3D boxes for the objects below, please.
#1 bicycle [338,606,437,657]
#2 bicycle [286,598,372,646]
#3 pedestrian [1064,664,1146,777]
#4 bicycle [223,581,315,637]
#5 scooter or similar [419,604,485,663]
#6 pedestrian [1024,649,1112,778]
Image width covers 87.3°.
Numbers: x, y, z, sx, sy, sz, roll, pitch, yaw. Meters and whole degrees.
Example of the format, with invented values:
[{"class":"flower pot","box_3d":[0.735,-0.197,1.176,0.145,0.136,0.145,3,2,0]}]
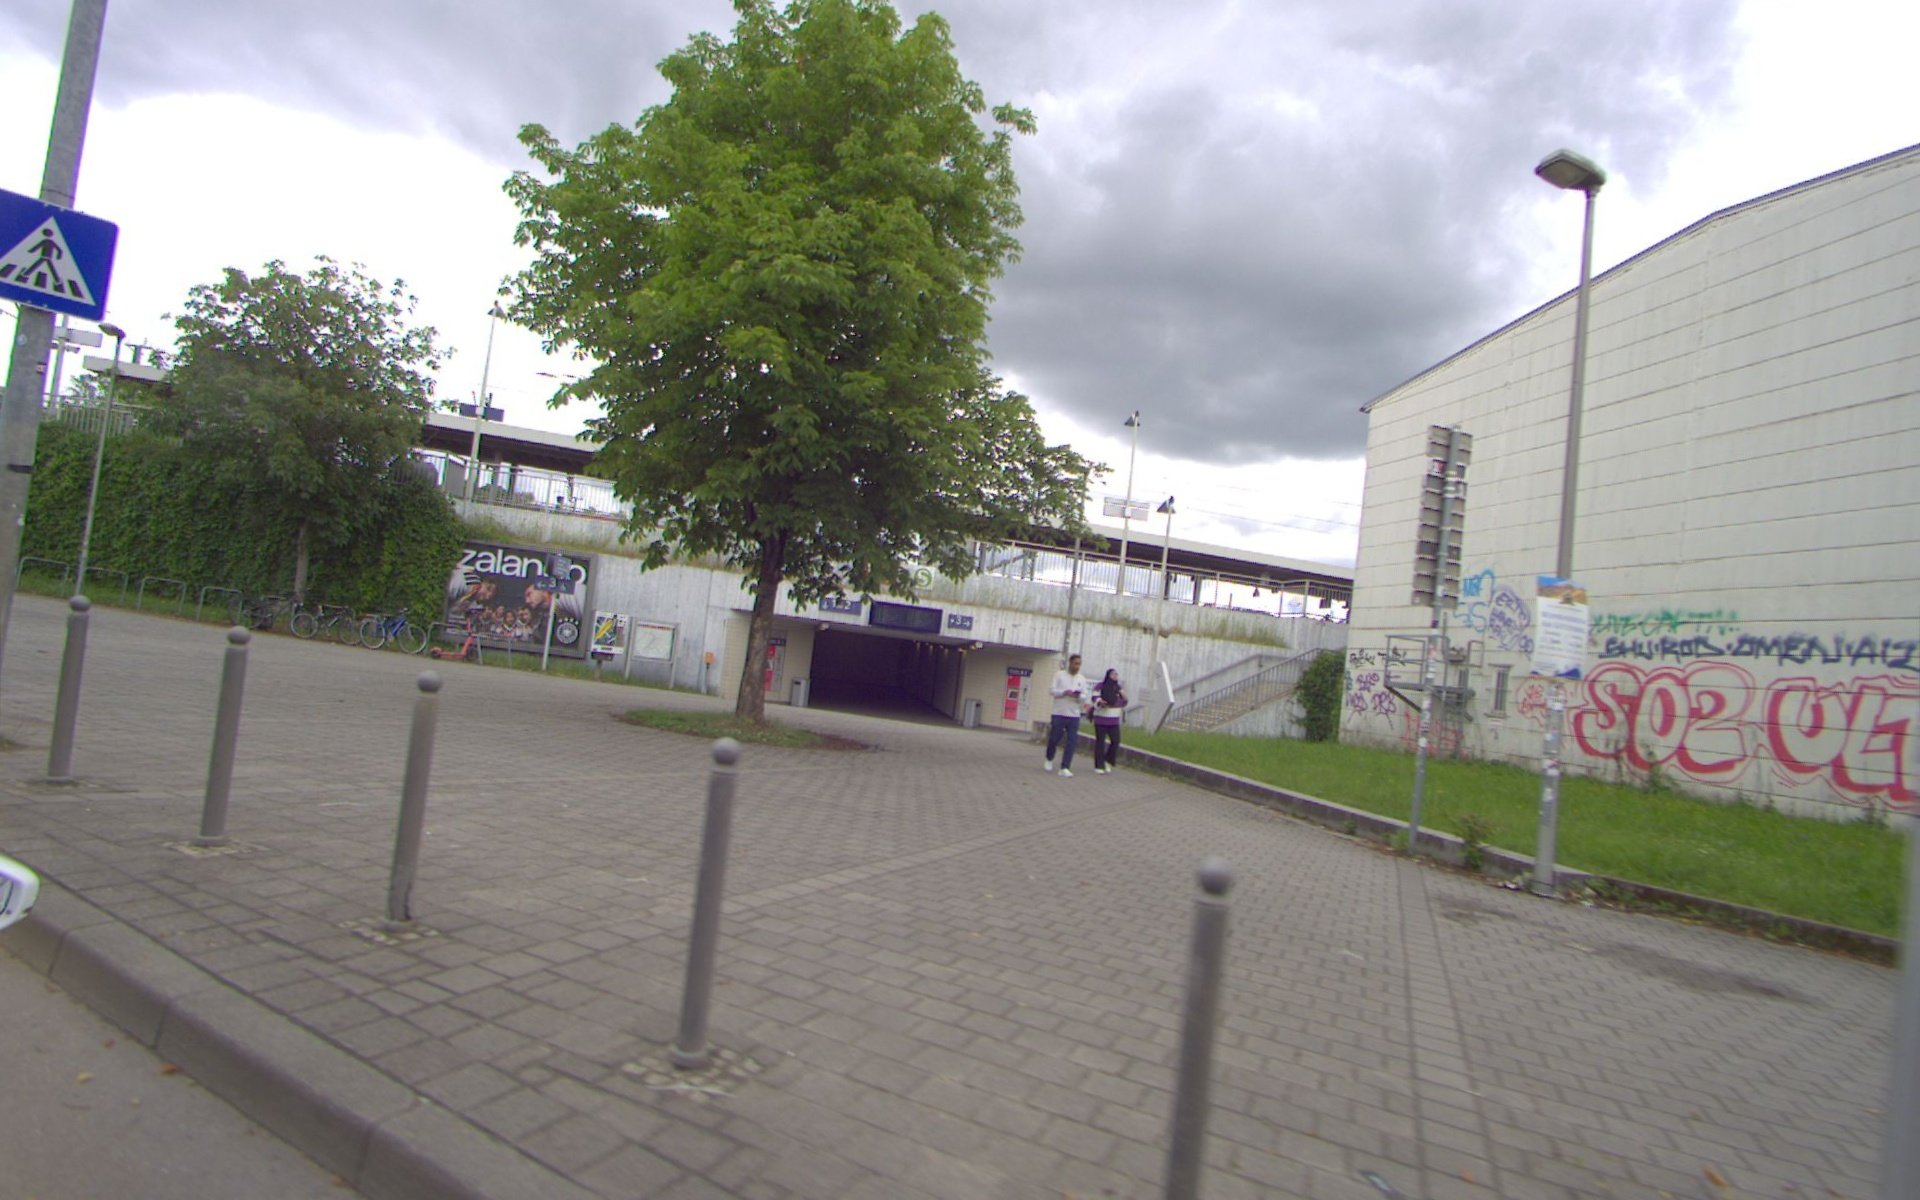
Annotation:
[{"class":"bicycle","box_3d":[-13.322,0.749,23.481,0.502,0.873,1.977,7,-6,24]},{"class":"bicycle","box_3d":[-14.594,0.518,23.313,0.455,0.862,1.582,7,-5,28]},{"class":"pedestrian","box_3d":[2.229,1.840,15.489,0.792,1.601,0.797,7,-3,-26]},{"class":"bicycle","box_3d":[-15.644,0.212,22.799,0.685,0.999,1.488,6,-5,42]},{"class":"scooter or similar","box_3d":[-11.896,0.794,23.584,0.460,1.218,1.192,6,-5,28]},{"class":"pedestrian","box_3d":[1.541,1.615,14.394,0.807,1.722,0.745,7,-2,-26]}]
